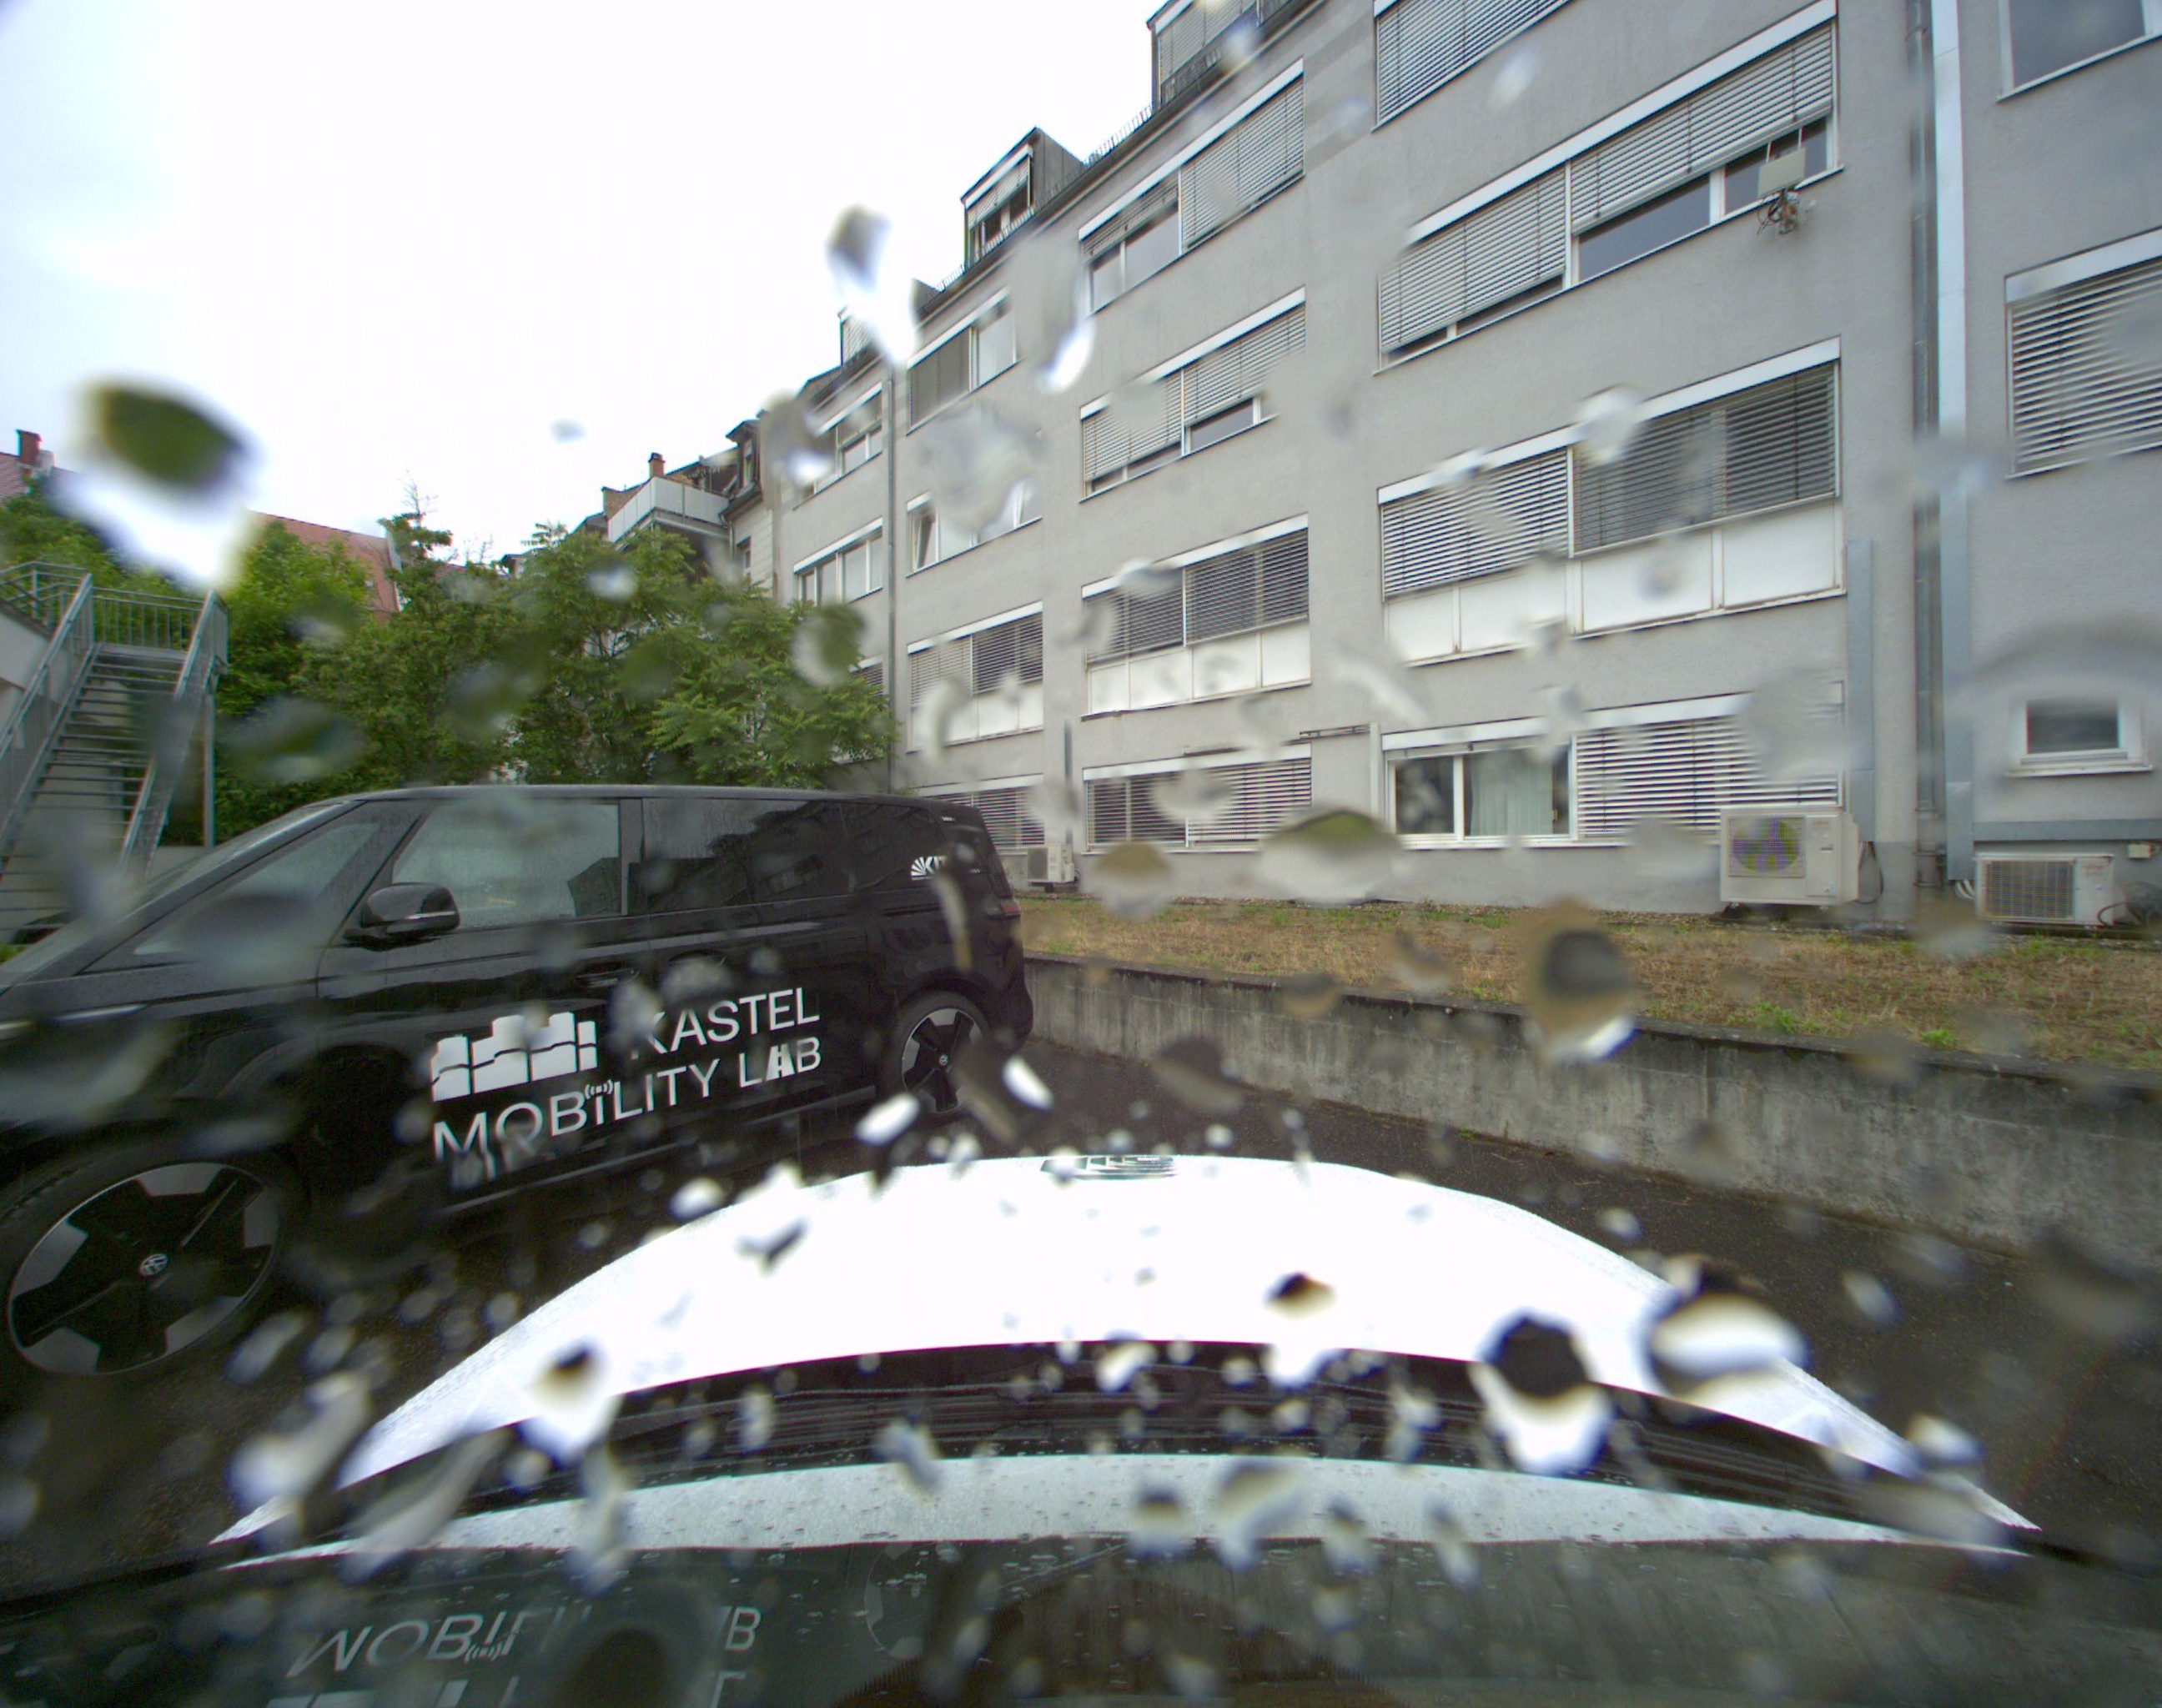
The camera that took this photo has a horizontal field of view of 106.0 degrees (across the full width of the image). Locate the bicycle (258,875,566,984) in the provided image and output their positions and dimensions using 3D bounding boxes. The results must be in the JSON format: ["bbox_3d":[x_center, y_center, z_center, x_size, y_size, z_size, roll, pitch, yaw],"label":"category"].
[{"bbox_3d":[-9.132,0.969,11.340,3.242,1.242,0.623,-1,-1,-43],"label":"bicycle"}]

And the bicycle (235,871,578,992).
[{"bbox_3d":[-8.285,0.875,10.252,3.242,1.242,0.623,-1,-1,-43],"label":"bicycle"}]

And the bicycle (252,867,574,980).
[{"bbox_3d":[-8.699,0.836,10.841,3.242,1.242,0.623,-1,-1,-43],"label":"bicycle"}]

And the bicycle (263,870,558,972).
[{"bbox_3d":[-9.556,0.892,11.821,3.242,1.242,0.623,-1,-1,-43],"label":"bicycle"}]

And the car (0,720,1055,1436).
[{"bbox_3d":[-2.457,0.594,4.131,2.020,1.897,4.550,-2,-1,42],"label":"car"}]
